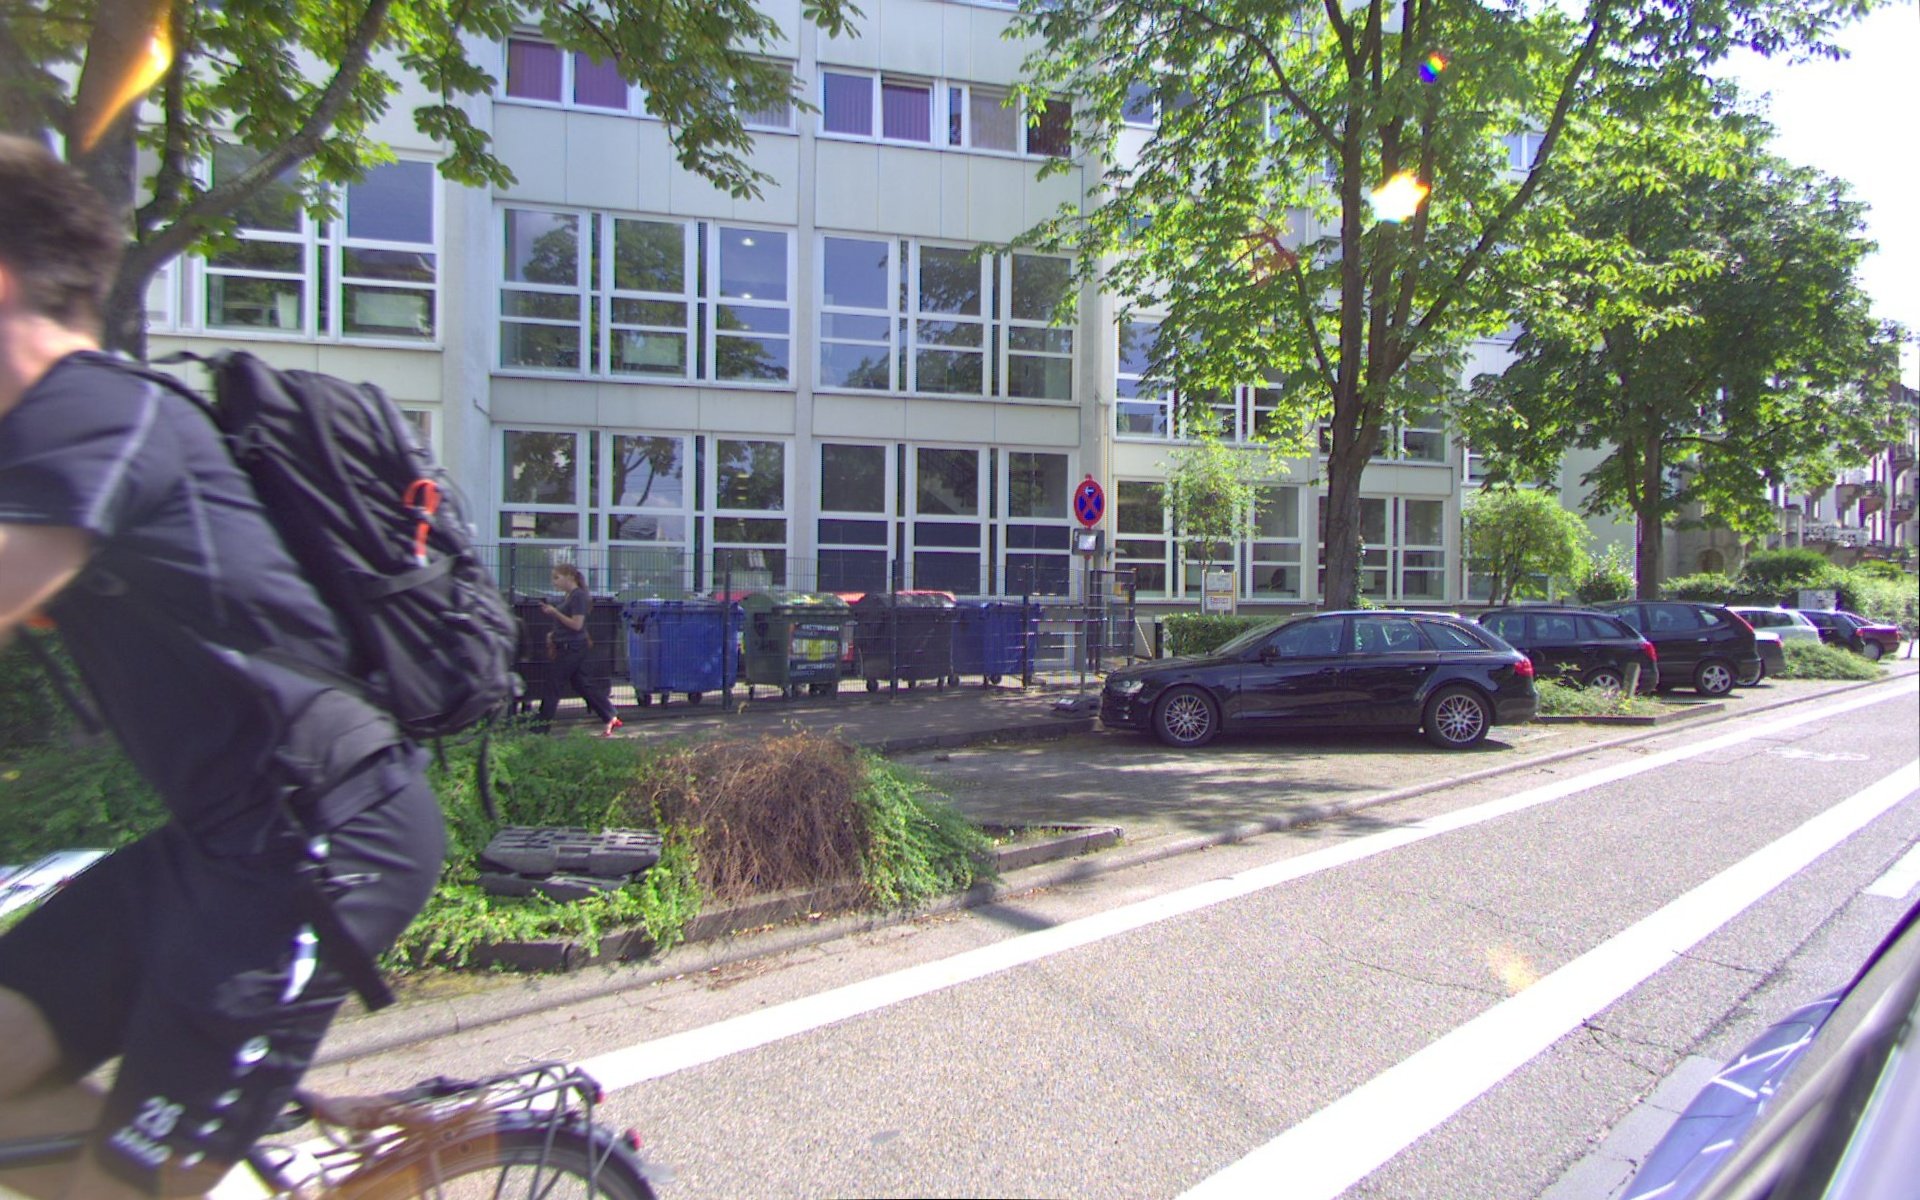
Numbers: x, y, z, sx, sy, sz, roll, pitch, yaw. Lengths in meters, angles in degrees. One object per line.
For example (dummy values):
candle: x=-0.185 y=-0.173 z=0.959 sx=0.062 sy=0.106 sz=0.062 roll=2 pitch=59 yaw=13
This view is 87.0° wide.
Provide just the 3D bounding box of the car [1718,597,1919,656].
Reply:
car: x=23.570 y=0.689 z=27.689 sx=4.091 sy=1.441 sz=1.862 roll=1 pitch=1 yaw=9

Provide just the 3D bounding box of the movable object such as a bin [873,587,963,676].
movable object such as a bin: x=-0.759 y=0.529 z=17.903 sx=1.237 sy=1.465 sz=1.383 roll=1 pitch=2 yaw=-18

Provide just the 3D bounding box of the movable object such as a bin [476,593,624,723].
movable object such as a bin: x=-4.646 y=0.619 z=11.455 sx=1.215 sy=1.353 sz=1.277 roll=0 pitch=-1 yaw=-41

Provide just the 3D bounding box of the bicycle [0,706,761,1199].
bicycle: x=-1.172 y=0.768 z=1.066 sx=1.803 sy=1.057 sz=0.617 roll=-2 pitch=5 yaw=-40

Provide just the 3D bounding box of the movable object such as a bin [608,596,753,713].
movable object such as a bin: x=-3.497 y=0.637 z=12.633 sx=1.335 sy=1.353 sz=1.277 roll=0 pitch=-1 yaw=-41

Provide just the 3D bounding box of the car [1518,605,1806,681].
car: x=13.384 y=0.804 z=19.547 sx=4.103 sy=1.366 sz=1.902 roll=-1 pitch=-1 yaw=6

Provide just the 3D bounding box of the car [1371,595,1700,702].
car: x=8.658 y=0.714 z=15.537 sx=4.006 sy=1.462 sz=1.722 roll=1 pitch=-2 yaw=7

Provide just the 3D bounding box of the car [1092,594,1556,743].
car: x=3.776 y=0.721 z=11.308 sx=4.457 sy=1.460 sz=2.028 roll=-1 pitch=-1 yaw=6

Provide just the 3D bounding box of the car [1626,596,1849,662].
car: x=18.301 y=0.661 z=23.960 sx=3.930 sy=1.479 sz=1.533 roll=0 pitch=0 yaw=6

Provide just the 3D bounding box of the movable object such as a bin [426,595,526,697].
movable object such as a bin: x=-6.950 y=0.631 z=14.614 sx=1.237 sy=1.355 sz=1.216 roll=1 pitch=2 yaw=-24

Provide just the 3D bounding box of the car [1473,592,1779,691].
car: x=11.322 y=0.695 z=17.509 sx=3.934 sy=1.595 sz=1.900 roll=-1 pitch=-1 yaw=9

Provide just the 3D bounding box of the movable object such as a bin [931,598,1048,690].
movable object such as a bin: x=0.460 y=0.637 z=15.702 sx=1.302 sy=1.335 sz=1.278 roll=0 pitch=0 yaw=-39

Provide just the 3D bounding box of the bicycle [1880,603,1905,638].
bicycle: x=31.039 y=0.676 z=33.692 sx=1.975 sy=1.122 sz=0.280 roll=0 pitch=4 yaw=-40

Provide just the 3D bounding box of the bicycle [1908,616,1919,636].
bicycle: x=35.121 y=0.958 z=37.122 sx=1.531 sy=0.685 sz=0.280 roll=0 pitch=4 yaw=-40

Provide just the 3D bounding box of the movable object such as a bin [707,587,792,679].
movable object such as a bin: x=-3.600 y=0.536 z=17.216 sx=1.237 sy=1.465 sz=1.383 roll=1 pitch=2 yaw=-18

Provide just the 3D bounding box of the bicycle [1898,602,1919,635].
bicycle: x=33.687 y=0.653 z=35.912 sx=1.975 sy=1.122 sz=0.280 roll=0 pitch=4 yaw=-40

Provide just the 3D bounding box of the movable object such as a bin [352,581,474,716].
movable object such as a bin: x=-6.435 y=0.554 z=11.991 sx=0.918 sy=1.500 sz=1.270 roll=1 pitch=-1 yaw=-12

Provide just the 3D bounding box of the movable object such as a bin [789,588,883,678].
movable object such as a bin: x=-2.152 y=0.537 z=17.448 sx=1.422 sy=1.474 sz=1.212 roll=-1 pitch=0 yaw=-16

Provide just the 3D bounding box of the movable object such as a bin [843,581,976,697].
movable object such as a bin: x=-0.729 y=0.513 z=14.547 sx=1.443 sy=1.558 sz=1.278 roll=0 pitch=0 yaw=-39

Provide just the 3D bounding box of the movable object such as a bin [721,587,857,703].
movable object such as a bin: x=-2.312 y=0.591 z=13.688 sx=1.274 sy=1.456 sz=1.331 roll=-2 pitch=-3 yaw=43

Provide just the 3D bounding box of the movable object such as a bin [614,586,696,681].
movable object such as a bin: x=-5.103 y=0.535 z=16.898 sx=1.237 sy=1.465 sz=1.383 roll=1 pitch=2 yaw=-18

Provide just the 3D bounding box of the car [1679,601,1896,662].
car: x=21.033 y=0.768 z=25.872 sx=3.933 sy=1.467 sz=1.695 roll=0 pitch=0 yaw=9

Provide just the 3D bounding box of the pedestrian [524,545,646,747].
pedestrian: x=-3.745 y=0.423 z=10.095 sx=0.983 sy=1.897 sz=0.763 roll=0 pitch=0 yaw=-34

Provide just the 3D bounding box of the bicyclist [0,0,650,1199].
bicyclist: x=-1.028 y=0.242 z=1.206 sx=1.110 sy=1.973 sz=0.608 roll=0 pitch=-1 yaw=-40
